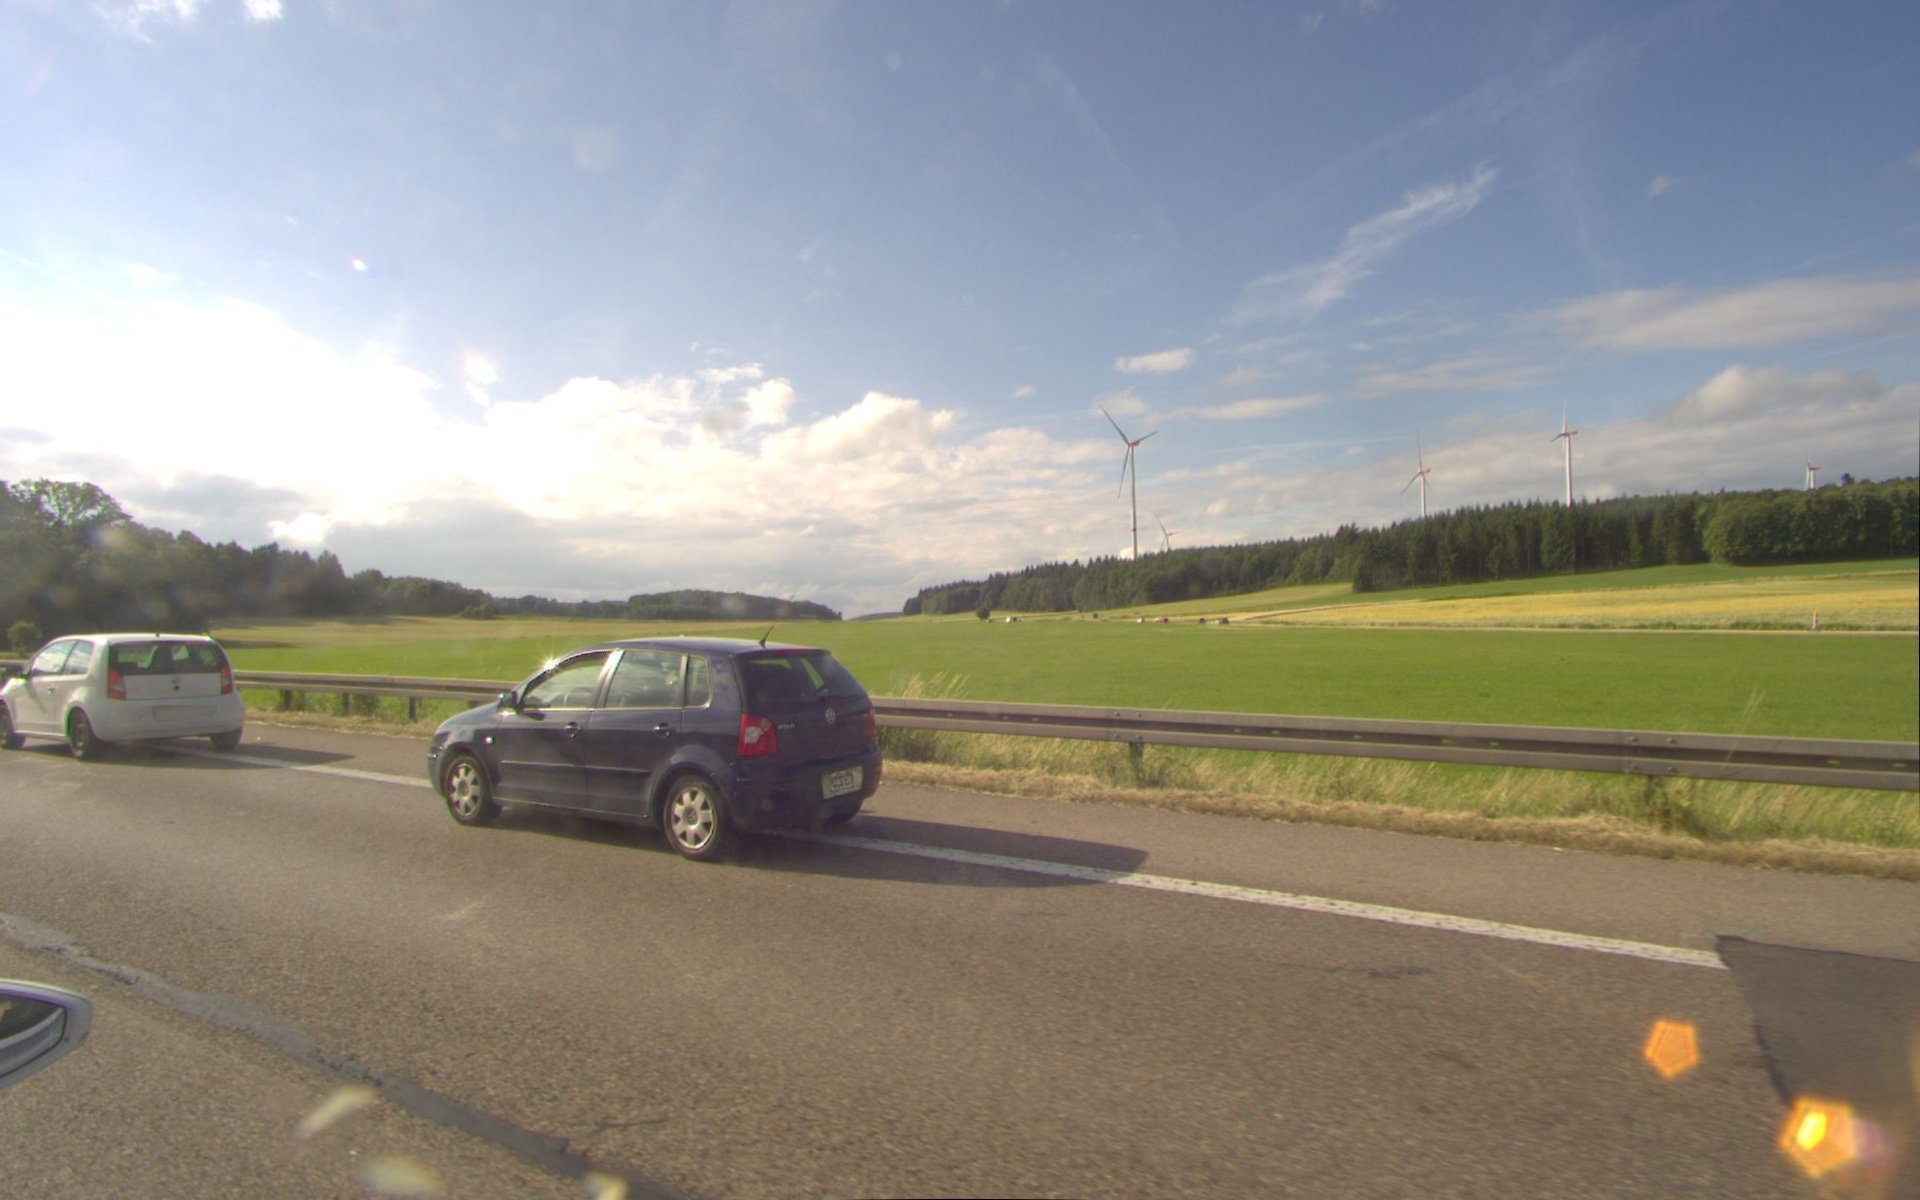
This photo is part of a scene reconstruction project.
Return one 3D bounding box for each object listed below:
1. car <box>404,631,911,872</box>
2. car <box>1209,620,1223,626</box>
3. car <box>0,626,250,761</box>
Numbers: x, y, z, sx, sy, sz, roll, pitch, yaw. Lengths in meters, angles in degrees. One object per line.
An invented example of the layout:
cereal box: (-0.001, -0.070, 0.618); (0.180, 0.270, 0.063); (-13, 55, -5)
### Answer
car: (-2.402, 0.991, 7.781); (3.718, 1.464, 1.708); (-2, -2, 30)
car: (58.215, 5.245, 228.015); (1.803, 1.505, 4.222); (0, -2, -5)
car: (-10.829, 1.104, 12.875); (3.328, 1.514, 1.547); (0, -1, 31)
